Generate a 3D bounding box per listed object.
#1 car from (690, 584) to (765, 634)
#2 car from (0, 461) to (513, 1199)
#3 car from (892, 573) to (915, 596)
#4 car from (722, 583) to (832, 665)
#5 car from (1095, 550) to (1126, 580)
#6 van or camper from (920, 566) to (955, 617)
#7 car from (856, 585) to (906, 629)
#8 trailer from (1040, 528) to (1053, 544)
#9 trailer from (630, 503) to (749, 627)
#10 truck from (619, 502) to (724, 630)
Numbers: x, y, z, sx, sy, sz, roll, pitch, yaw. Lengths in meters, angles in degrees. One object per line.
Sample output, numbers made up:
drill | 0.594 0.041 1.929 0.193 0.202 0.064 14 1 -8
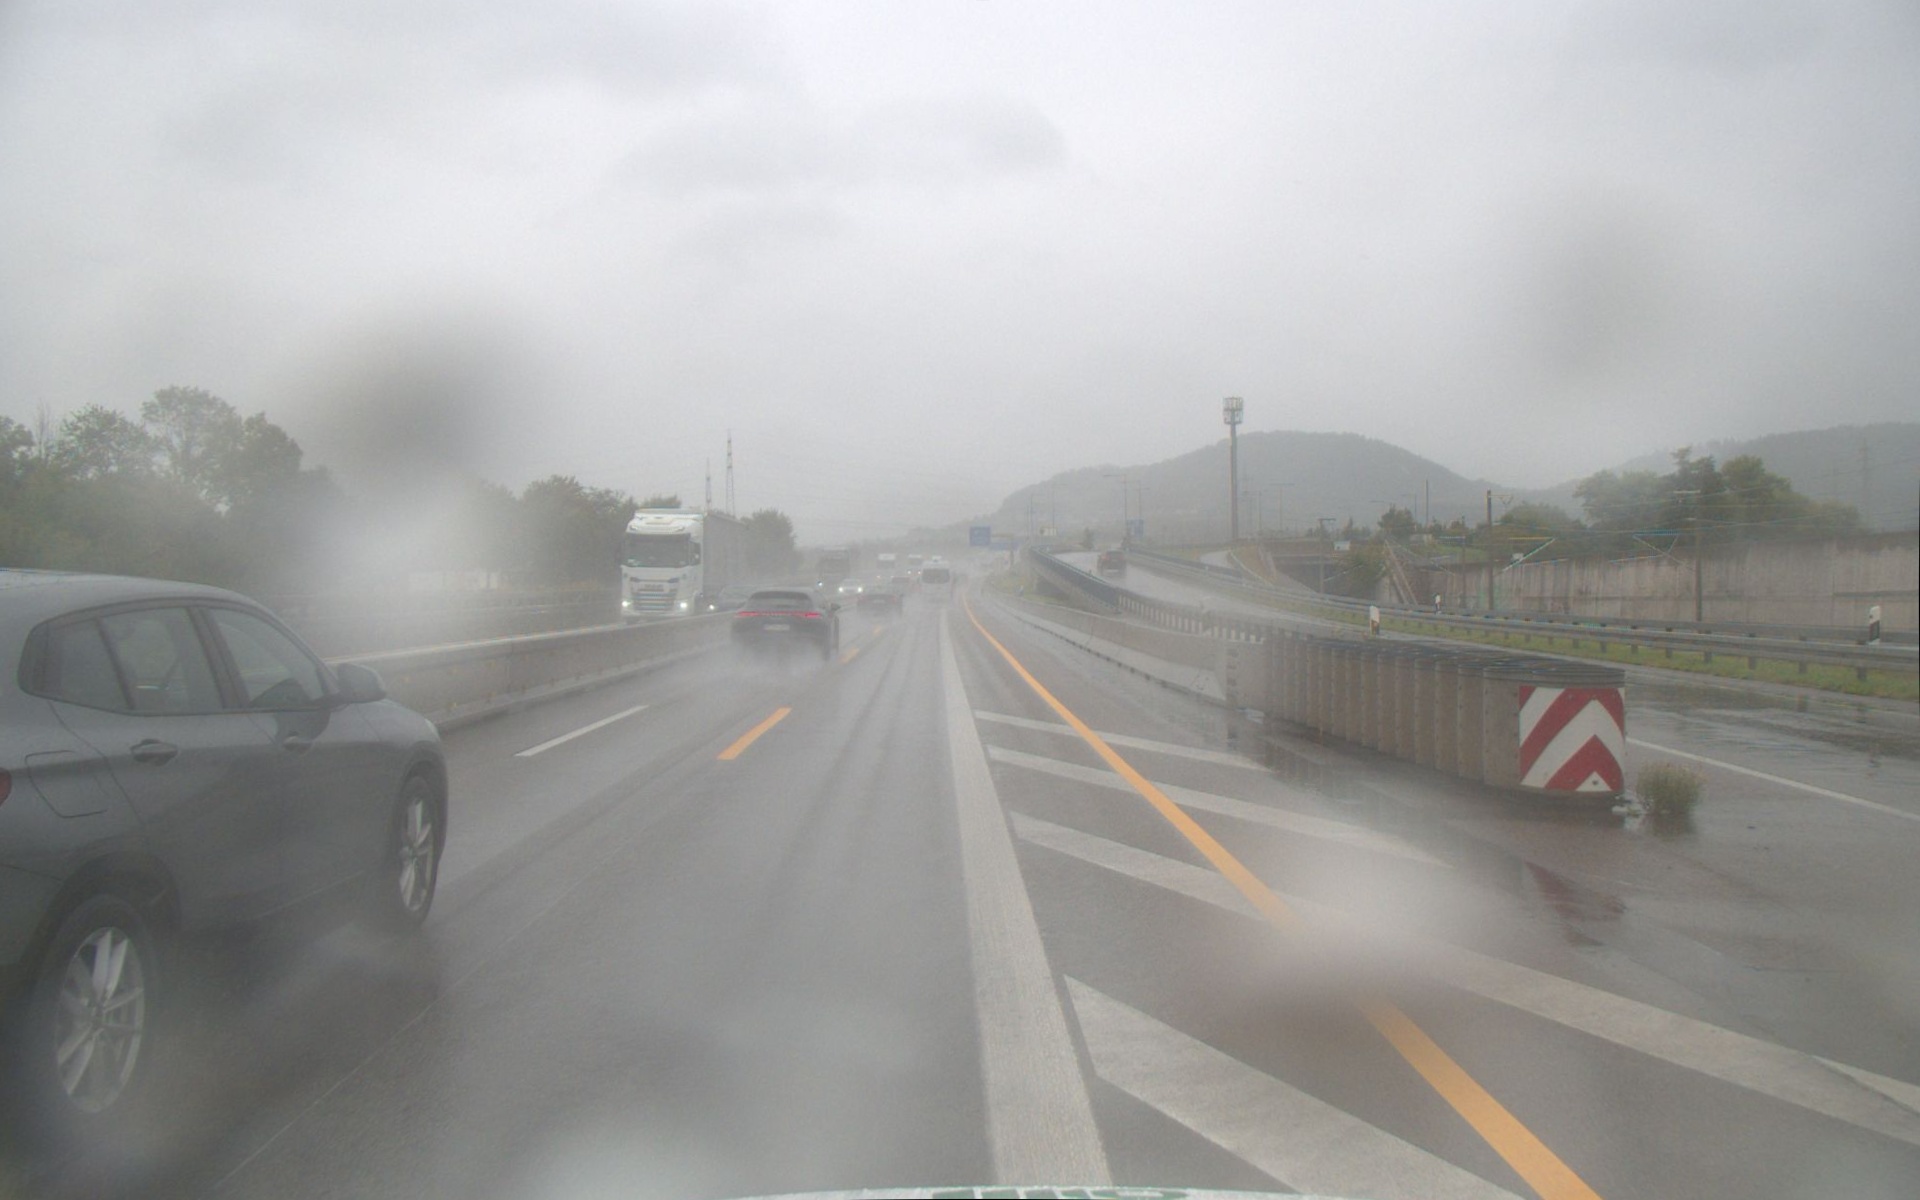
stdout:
car | -7.472 0.286 53.521 1.854 1.510 3.999 2 0 -1
car | -2.979 0.532 5.617 1.666 1.626 4.844 -1 0 -1
car | -3.994 -1.076 117.171 1.535 1.506 2.821 -2 0 -1
car | -3.592 0.451 33.082 1.807 1.517 4.260 0 0 -1
car | 11.410 -2.629 125.735 1.953 2.180 3.999 0 0 -1
van or camper | -1.307 -0.462 94.189 1.956 2.826 4.048 0 0 -1
car | -3.064 0.235 64.856 1.807 1.517 4.261 -2 1 -1
trailer | 13.871 -10.204 265.090 1.952 2.143 13.772 0 0 2
trailer | -10.384 -1.246 64.929 2.632 4.352 13.069 0 0 -1
truck | -10.342 -1.170 59.898 2.653 4.352 6.748 0 0 -1
